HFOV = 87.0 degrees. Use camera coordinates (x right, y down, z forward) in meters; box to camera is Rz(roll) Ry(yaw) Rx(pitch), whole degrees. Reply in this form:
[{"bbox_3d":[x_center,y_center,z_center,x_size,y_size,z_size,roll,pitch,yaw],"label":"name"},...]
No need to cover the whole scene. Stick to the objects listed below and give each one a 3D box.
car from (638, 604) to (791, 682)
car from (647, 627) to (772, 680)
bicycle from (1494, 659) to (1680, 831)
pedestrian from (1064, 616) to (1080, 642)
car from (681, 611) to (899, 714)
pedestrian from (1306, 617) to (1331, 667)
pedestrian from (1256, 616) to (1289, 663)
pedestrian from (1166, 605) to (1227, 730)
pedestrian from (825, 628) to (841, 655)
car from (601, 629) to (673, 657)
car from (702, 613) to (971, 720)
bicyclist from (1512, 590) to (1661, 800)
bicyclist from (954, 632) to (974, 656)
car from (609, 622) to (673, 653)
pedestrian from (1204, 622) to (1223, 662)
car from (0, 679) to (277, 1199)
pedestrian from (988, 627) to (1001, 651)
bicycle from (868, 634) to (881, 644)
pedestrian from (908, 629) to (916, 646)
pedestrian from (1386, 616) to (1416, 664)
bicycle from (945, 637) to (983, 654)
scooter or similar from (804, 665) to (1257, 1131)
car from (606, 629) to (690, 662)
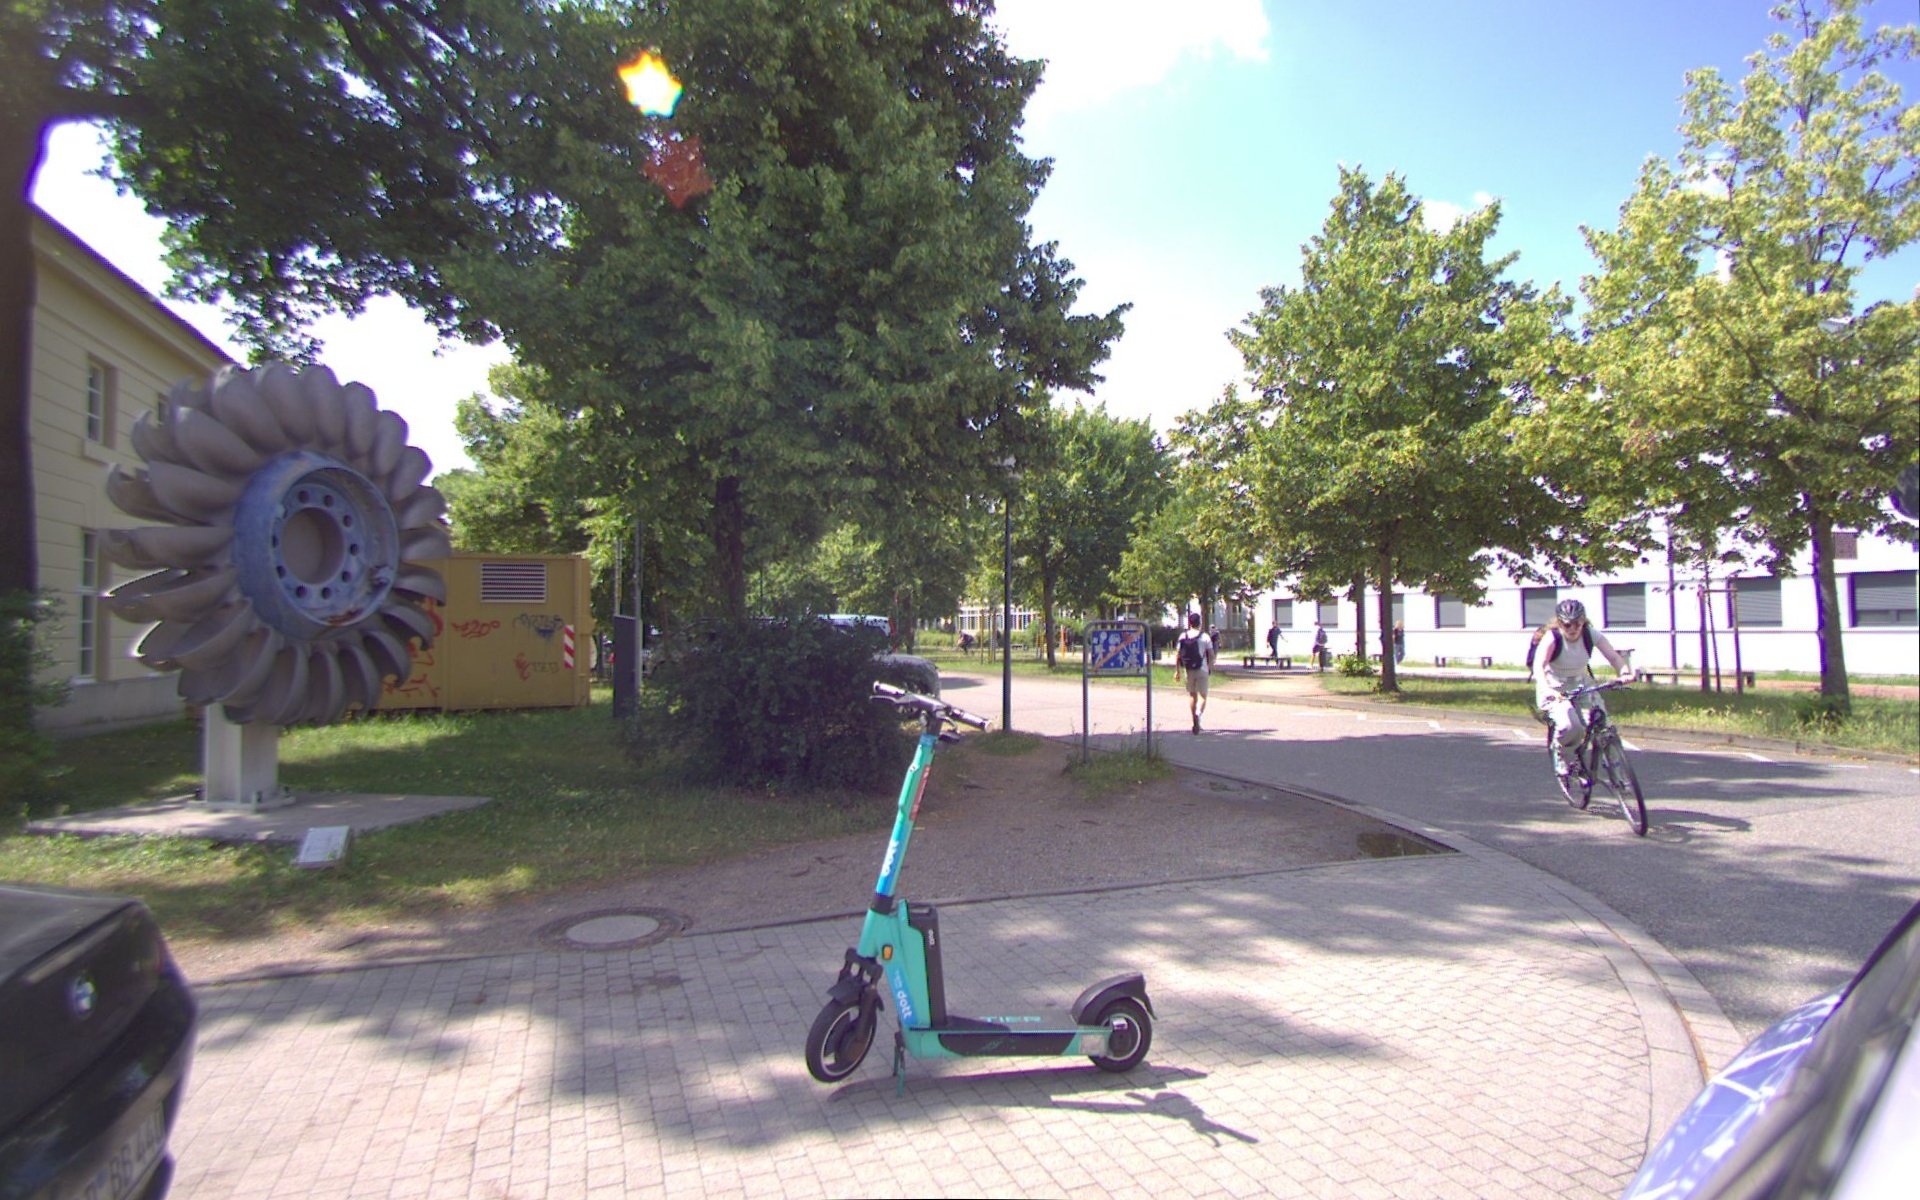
[{"bbox_3d":[-6.904,1.166,28.357,3.967,2.040,2.003,0,-2,-20],"label":"car"},{"bbox_3d":[-8.189,1.702,33.014,3.774,1.615,1.789,0,-2,-20],"label":"car"},{"bbox_3d":[4.861,1.059,8.014,0.666,1.086,2.124,-3,-2,17],"label":"bicycle"},{"bbox_3d":[7.138,1.845,64.573,0.832,1.670,0.805,0,-2,-10],"label":"pedestrian"},{"bbox_3d":[-3.349,1.157,19.838,3.916,1.862,1.827,0,-2,-22],"label":"car"},{"bbox_3d":[12.867,1.500,36.345,0.705,1.793,0.821,-1,-2,29],"label":"pedestrian"},{"bbox_3d":[12.392,1.560,40.160,0.777,1.799,1.096,0,-2,-16],"label":"pedestrian"},{"bbox_3d":[3.426,0.961,14.673,0.628,1.767,0.583,0,-2,-18],"label":"pedestrian"},{"bbox_3d":[-7.131,2.331,56.940,0.780,1.507,0.636,0,-2,-21],"label":"pedestrian"},{"bbox_3d":[-18.306,2.404,57.323,3.774,1.541,1.726,0,-2,-20],"label":"car"},{"bbox_3d":[-2.142,1.115,17.563,4.271,1.673,1.898,1,-2,-22],"label":"car"},{"bbox_3d":[4.805,0.690,7.834,0.666,1.497,1.057,-2,-1,17],"label":"bicyclist"},{"bbox_3d":[0.233,2.357,54.766,0.883,1.276,0.800,0,-2,-16],"label":"bicyclist"},{"bbox_3d":[-20.210,2.373,64.090,3.774,1.904,1.784,0,-2,-20],"label":"car"},{"bbox_3d":[10.784,1.764,43.077,0.718,1.678,0.711,-1,-2,20],"label":"pedestrian"},{"bbox_3d":[-3.359,0.826,1.183,3.916,1.297,1.716,0,-2,-19],"label":"car"},{"bbox_3d":[2.582,2.928,75.746,0.780,1.745,0.636,0,-2,-21],"label":"pedestrian"},{"bbox_3d":[-8.980,4.110,106.244,0.762,1.045,2.152,0,-2,-21],"label":"bicycle"},{"bbox_3d":[-4.586,3.575,96.181,0.584,1.650,0.764,0,-2,-21],"label":"pedestrian"},{"bbox_3d":[15.831,1.423,36.302,0.615,1.710,0.726,0,-2,-21],"label":"pedestrian"},{"bbox_3d":[0.209,2.459,54.743,1.905,0.929,0.800,0,-2,-16],"label":"bicycle"},{"bbox_3d":[0.196,0.874,3.305,1.353,1.270,0.555,0,-2,-12],"label":"scooter or similar"},{"bbox_3d":[-15.036,2.158,48.801,3.774,1.507,1.726,0,-2,-20],"label":"car"}]
